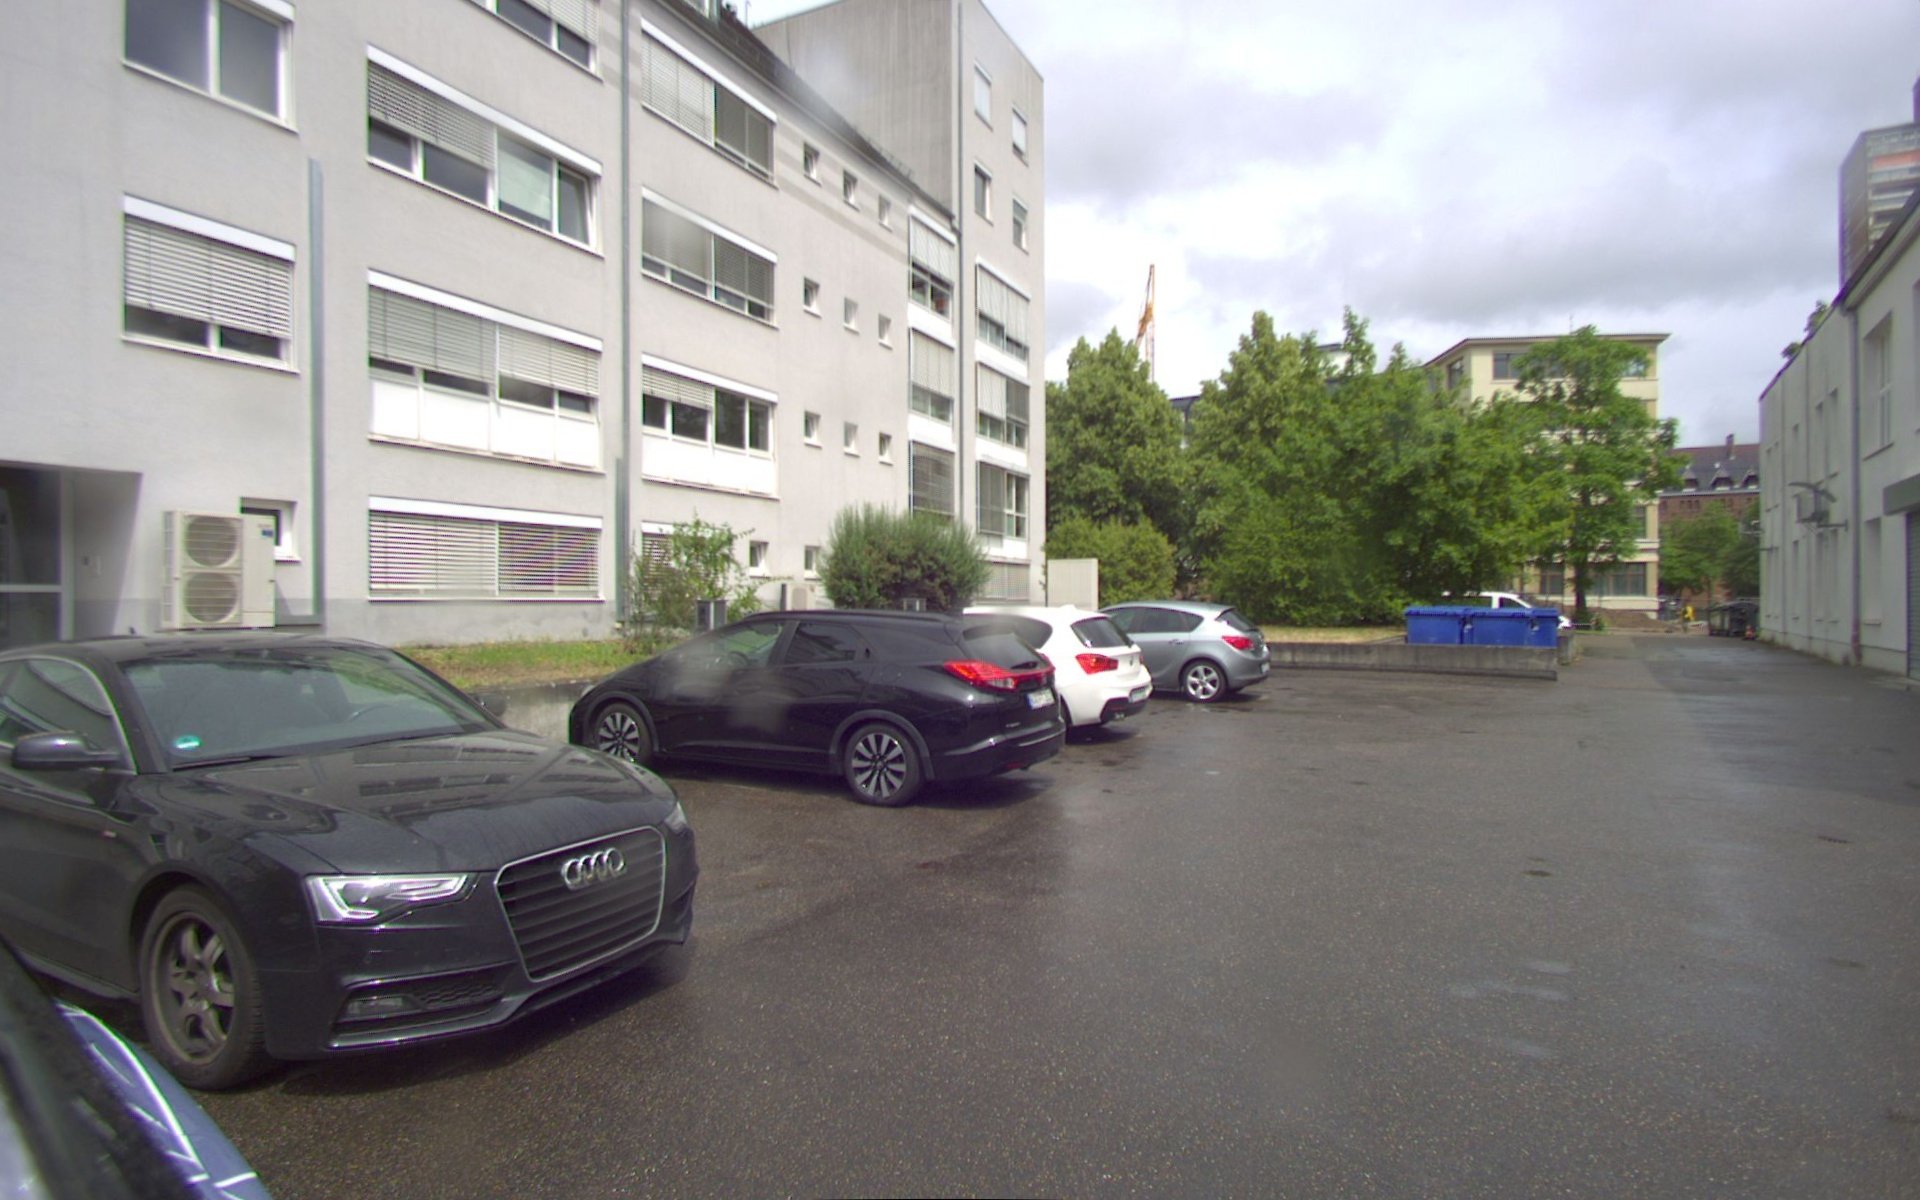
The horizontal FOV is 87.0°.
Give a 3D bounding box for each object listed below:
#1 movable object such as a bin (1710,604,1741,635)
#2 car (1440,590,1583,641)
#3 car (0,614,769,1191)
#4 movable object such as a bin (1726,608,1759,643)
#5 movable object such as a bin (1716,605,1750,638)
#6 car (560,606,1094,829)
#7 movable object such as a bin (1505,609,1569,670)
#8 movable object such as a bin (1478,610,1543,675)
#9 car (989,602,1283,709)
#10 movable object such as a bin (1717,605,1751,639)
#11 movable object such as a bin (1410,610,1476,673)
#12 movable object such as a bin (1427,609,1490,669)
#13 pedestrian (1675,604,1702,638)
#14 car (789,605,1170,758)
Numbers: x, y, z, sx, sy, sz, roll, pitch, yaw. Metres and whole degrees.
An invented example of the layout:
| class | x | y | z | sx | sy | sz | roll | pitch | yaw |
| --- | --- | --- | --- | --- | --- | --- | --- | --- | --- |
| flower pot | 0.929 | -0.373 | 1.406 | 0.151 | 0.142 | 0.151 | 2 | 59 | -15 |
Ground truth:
| class | x | y | z | sx | sy | sz | roll | pitch | yaw |
| --- | --- | --- | --- | --- | --- | --- | --- | --- | --- |
| movable object such as a bin | 34.259 | 0.871 | 45.311 | 1.064 | 1.366 | 1.249 | -1 | 0 | 36 |
| car | 19.963 | 0.554 | 36.720 | 4.328 | 1.740 | 1.701 | -1 | 0 | 38 |
| car | -3.165 | 0.791 | 4.382 | 4.507 | 1.362 | 1.747 | 0 | 0 | 27 |
| movable object such as a bin | 31.121 | 1.002 | 40.249 | 0.977 | 1.366 | 0.908 | -1 | 0 | 36 |
| movable object such as a bin | 32.707 | 0.895 | 42.834 | 1.061 | 1.366 | 1.204 | -1 | 0 | 36 |
| car | -1.179 | 0.811 | 8.615 | 4.293 | 1.453 | 1.747 | 0 | 0 | 26 |
| movable object such as a bin | 13.157 | 0.882 | 23.070 | 1.129 | 1.338 | 1.194 | -1 | 0 | 35 |
| movable object such as a bin | 11.874 | 0.895 | 21.813 | 1.093 | 1.335 | 1.194 | -1 | 0 | 35 |
| car | 2.759 | 0.787 | 16.036 | 4.293 | 1.453 | 1.747 | 0 | 0 | 27 |
| movable object such as a bin | 31.982 | 0.907 | 41.810 | 1.044 | 1.366 | 1.193 | -1 | 0 | 36 |
| movable object such as a bin | 10.765 | 0.912 | 22.558 | 1.129 | 1.338 | 1.194 | -1 | 0 | 35 |
| movable object such as a bin | 11.756 | 0.896 | 23.850 | 1.129 | 1.338 | 1.194 | -1 | 0 | 35 |
| pedestrian | 39.576 | 1.146 | 54.977 | 0.851 | 1.827 | 0.861 | -1 | 0 | 11 |
| car | 0.180 | 0.813 | 11.674 | 4.106 | 1.453 | 1.680 | 0 | 0 | 28 |
